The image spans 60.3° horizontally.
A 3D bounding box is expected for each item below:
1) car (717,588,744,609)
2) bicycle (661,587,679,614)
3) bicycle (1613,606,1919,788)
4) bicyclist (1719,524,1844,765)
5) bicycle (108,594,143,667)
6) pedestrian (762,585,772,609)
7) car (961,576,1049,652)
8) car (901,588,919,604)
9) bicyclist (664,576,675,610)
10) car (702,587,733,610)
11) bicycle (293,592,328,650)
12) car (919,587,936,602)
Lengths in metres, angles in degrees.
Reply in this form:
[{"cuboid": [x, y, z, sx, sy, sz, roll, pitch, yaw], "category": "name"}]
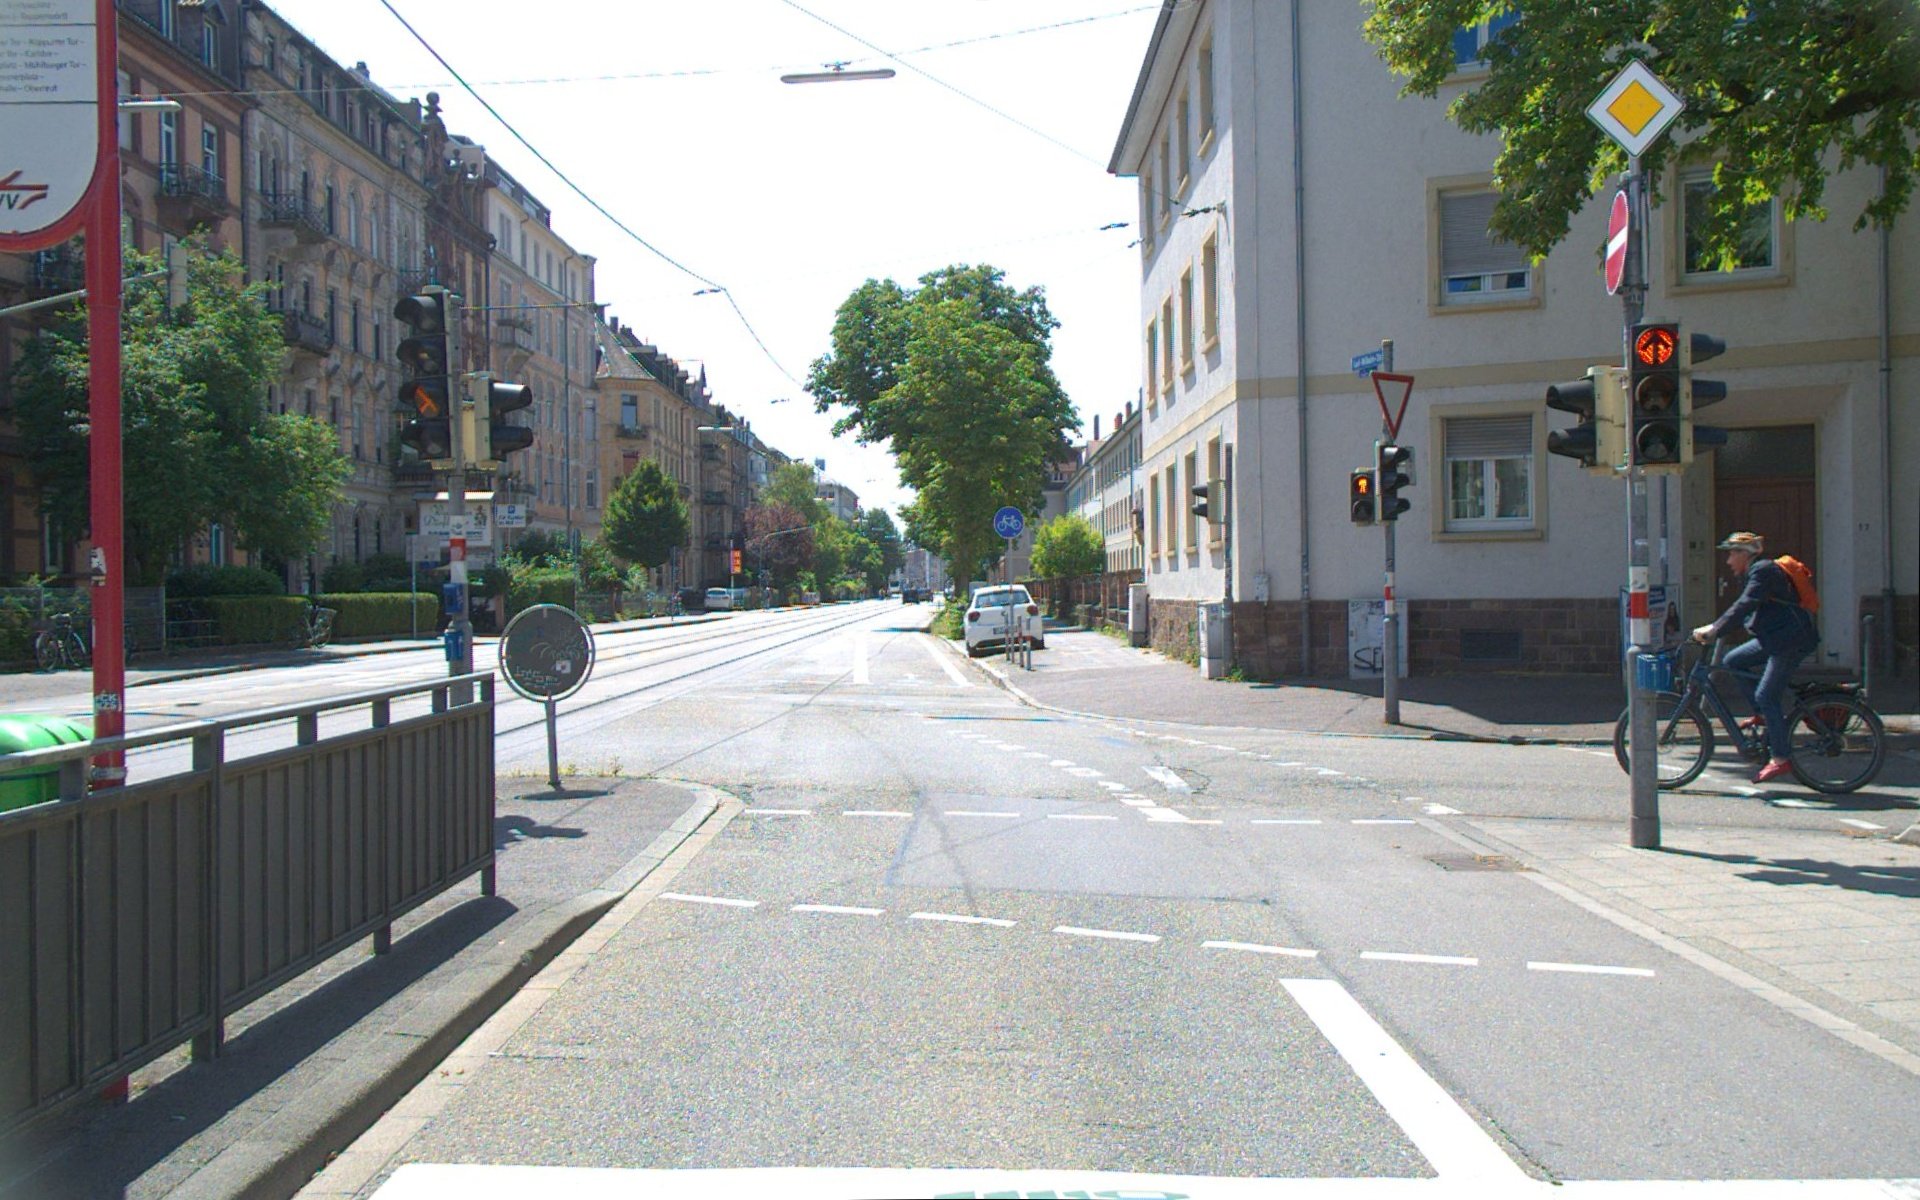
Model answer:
[{"cuboid": [-17.149, -0.102, 123.486, 1.596, 1.498, 3.562, -4, 0, -3], "category": "car"}, {"cuboid": [-15.376, 0.002, 87.721, 0.565, 1.412, 2.500, 0, 0, -1], "category": "bicycle"}, {"cuboid": [5.838, 0.675, 11.907, 2.036, 1.258, 0.581, 0, 0, 12], "category": "bicycle"}, {"cuboid": [5.884, 0.309, 11.875, 0.679, 1.675, 0.581, 0, 0, 12], "category": "bicyclist"}, {"cuboid": [-16.753, 0.586, 33.216, 0.607, 1.420, 2.288, 0, 0, -27], "category": "bicycle"}, {"cuboid": [-14.408, -0.245, 123.482, 0.664, 1.758, 0.677, 0, 0, -1], "category": "pedestrian"}, {"cuboid": [0.961, 0.304, 37.192, 1.712, 1.498, 3.937, -4, 0, -1], "category": "car"}, {"cuboid": [-4.720, -0.350, 156.831, 1.494, 1.469, 3.364, -2, 0, 0], "category": "car"}, {"cuboid": [-15.385, -0.353, 87.620, 0.531, 1.794, 0.498, 0, 0, -1], "category": "bicyclist"}, {"cuboid": [-16.877, -0.087, 115.337, 1.651, 1.498, 3.936, -4, 0, -3], "category": "car"}, {"cuboid": [-15.914, 0.505, 40.524, 0.584, 1.380, 2.419, 0, 0, -27], "category": "bicycle"}, {"cuboid": [-3.590, -0.595, 183.006, 1.712, 1.498, 3.937, -4, 0, -1], "category": "car"}]
